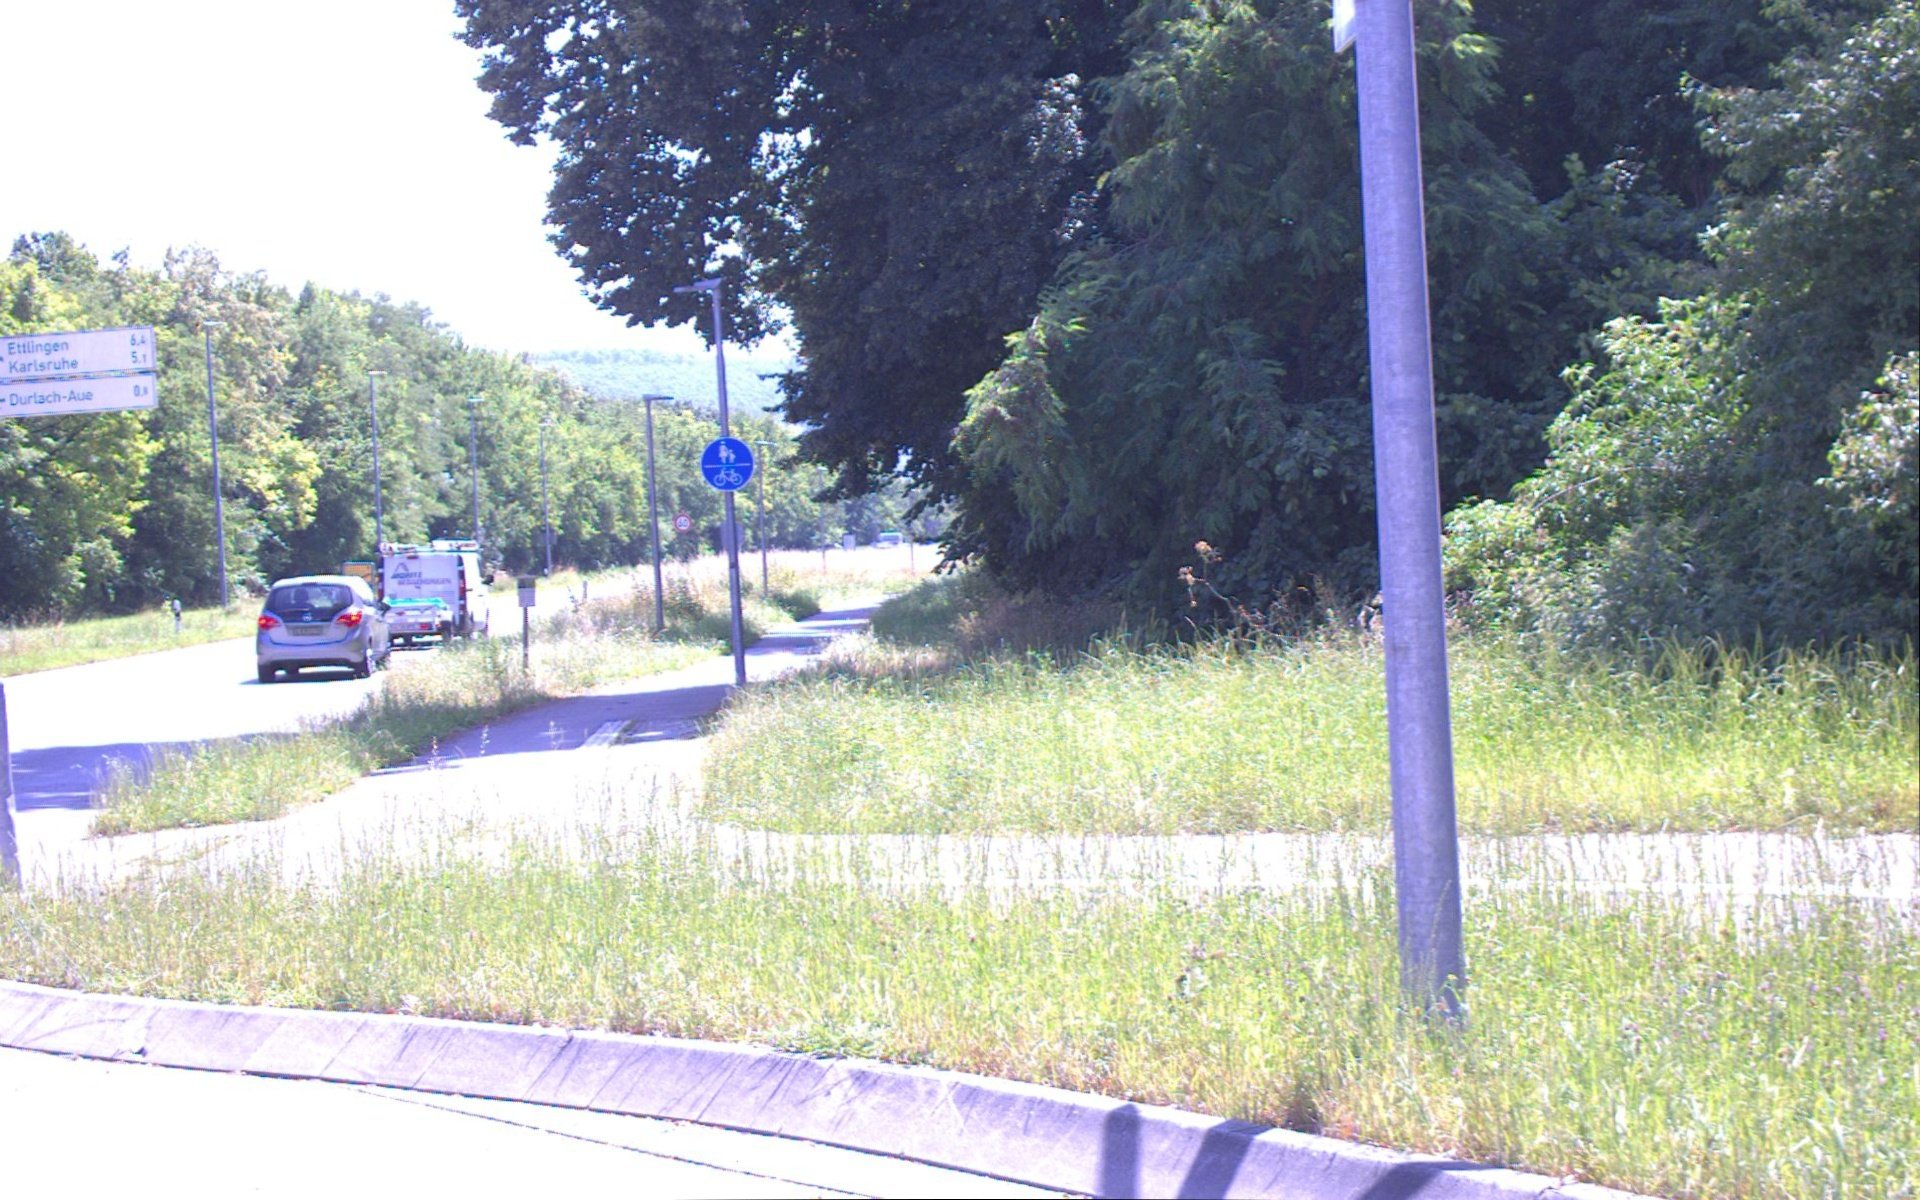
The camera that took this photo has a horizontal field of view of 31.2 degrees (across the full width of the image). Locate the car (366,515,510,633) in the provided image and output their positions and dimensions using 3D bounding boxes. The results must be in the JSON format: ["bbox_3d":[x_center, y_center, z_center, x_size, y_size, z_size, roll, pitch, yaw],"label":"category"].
[{"bbox_3d":[-10.975,-0.574,72.611,2.166,2.308,4.981,-2,1,1],"label":"car"}]

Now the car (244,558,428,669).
[{"bbox_3d":[-9.904,0.186,54.841,1.785,1.601,4.127,-2,1,5],"label":"car"}]

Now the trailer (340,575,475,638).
[{"bbox_3d":[-10.971,0.113,68.479,2.121,1.093,3.355,-2,1,0],"label":"trailer"}]
